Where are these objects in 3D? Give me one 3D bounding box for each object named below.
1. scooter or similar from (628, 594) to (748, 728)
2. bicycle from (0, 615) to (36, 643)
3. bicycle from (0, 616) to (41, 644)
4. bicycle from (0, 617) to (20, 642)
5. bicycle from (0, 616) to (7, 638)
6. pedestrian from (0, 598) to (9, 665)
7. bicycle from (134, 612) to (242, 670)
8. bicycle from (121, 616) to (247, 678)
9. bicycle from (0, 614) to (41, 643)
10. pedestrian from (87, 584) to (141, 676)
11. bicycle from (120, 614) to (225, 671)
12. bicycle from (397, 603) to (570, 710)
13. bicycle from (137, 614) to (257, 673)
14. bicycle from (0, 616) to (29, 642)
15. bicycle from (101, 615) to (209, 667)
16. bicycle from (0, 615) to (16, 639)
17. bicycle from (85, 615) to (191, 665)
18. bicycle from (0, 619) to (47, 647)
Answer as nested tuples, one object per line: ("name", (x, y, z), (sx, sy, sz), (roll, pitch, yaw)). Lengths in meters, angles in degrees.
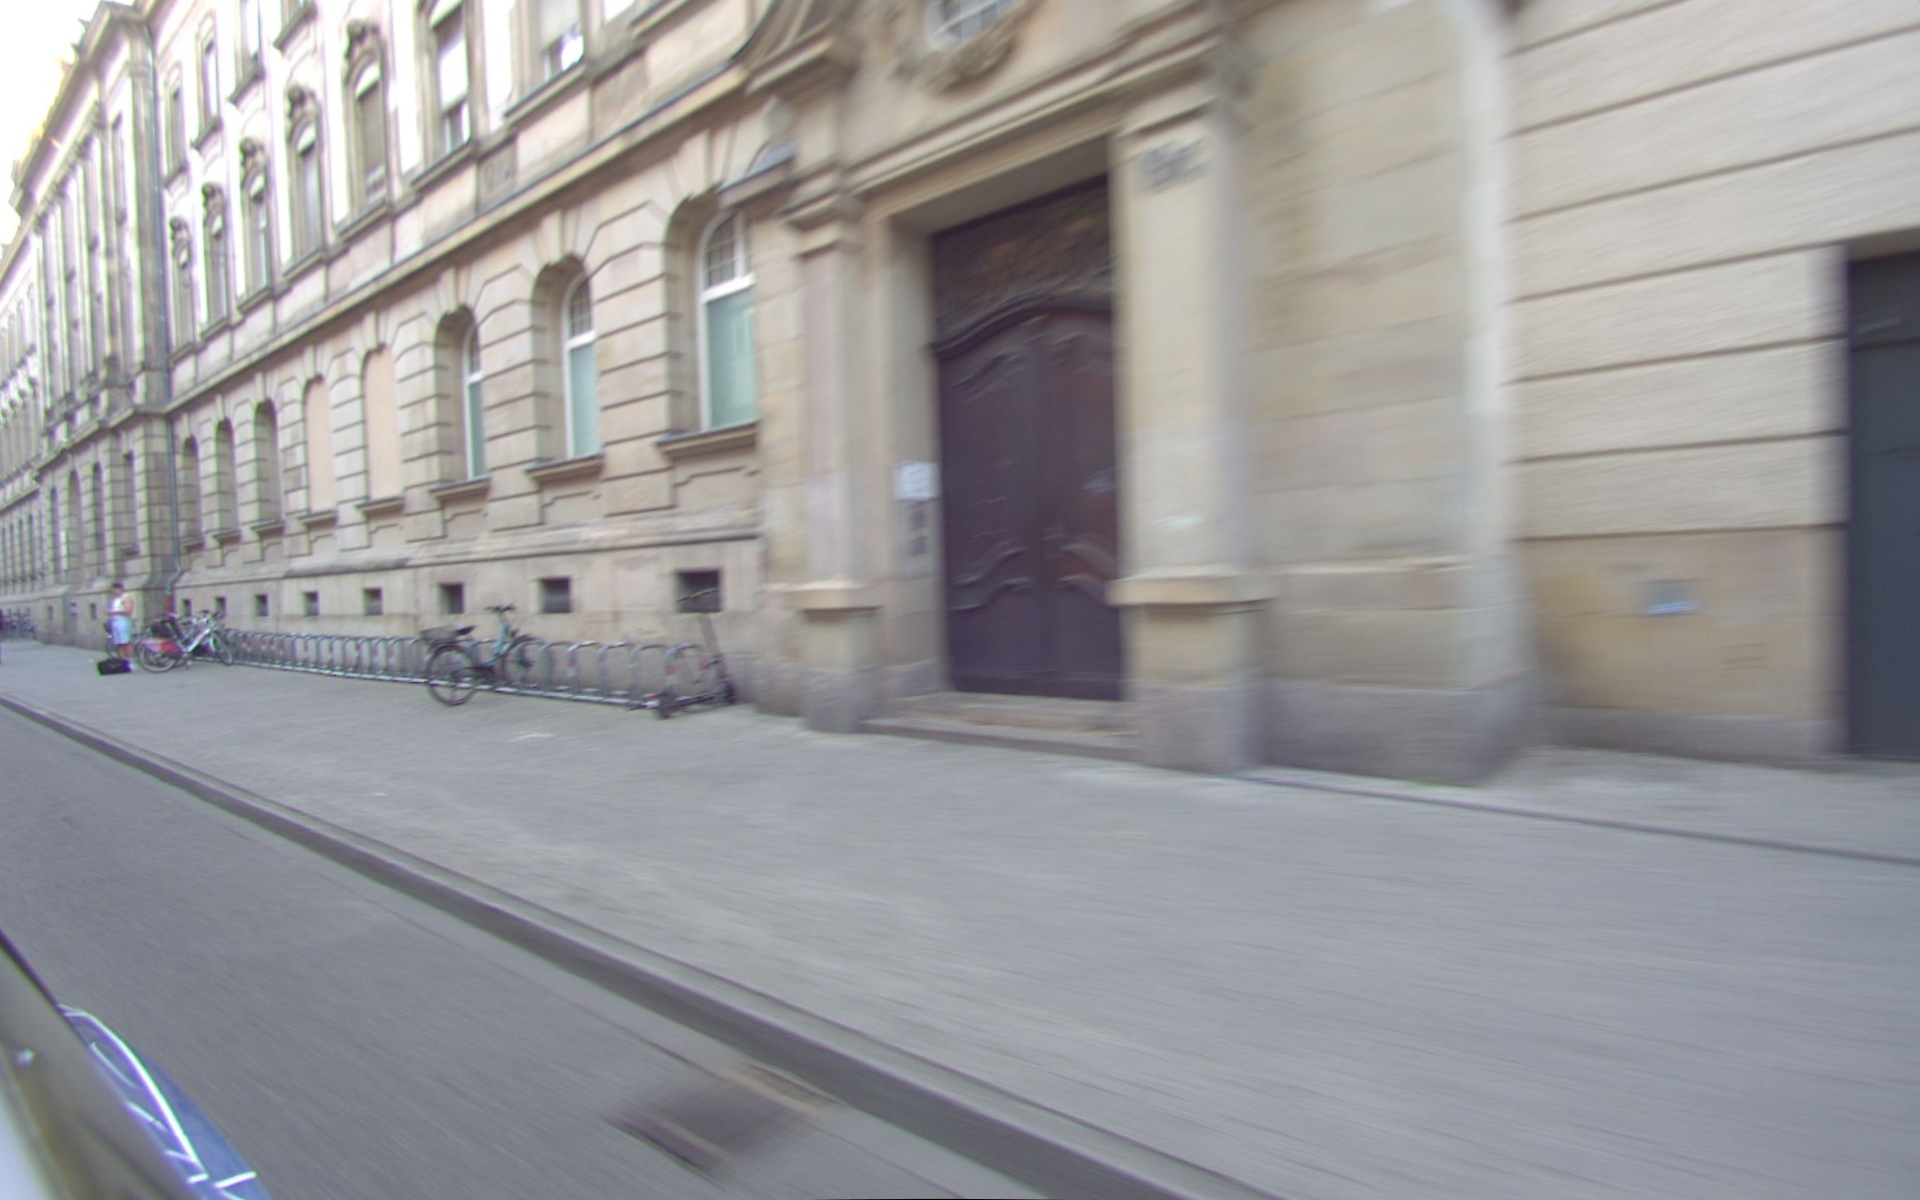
("scooter or similar", (-2.771, 0.595, 10.389), (0.495, 1.241, 1.126), (-2, 2, 29))
("bicycle", (-40.982, 1.279, 43.347), (0.728, 1.086, 1.921), (-1, 3, 34))
("bicycle", (-40.358, 1.282, 42.891), (0.728, 1.086, 1.921), (-1, 3, 34))
("bicycle", (-44.693, 1.394, 46.604), (0.728, 1.086, 1.921), (-1, 3, 34))
("bicycle", (-48.226, 1.382, 49.703), (0.728, 1.086, 1.921), (-1, 3, 34))
("pedestrian", (-25.858, 0.853, 26.794), (0.969, 1.763, 0.801), (0, 3, 41))
("bicycle", (-16.954, 0.879, 22.266), (0.499, 1.116, 1.779), (-1, 3, 35))
("bicycle", (-15.842, 0.928, 20.713), (0.619, 1.069, 1.918), (0, 3, 39))
("bicycle", (-39.494, 1.212, 41.955), (0.747, 1.086, 1.918), (-1, 3, 40))
("pedestrian", (-17.682, 0.613, 21.152), (0.753, 1.865, 0.583), (-2, 2, 36))
("bicycle", (-17.887, 0.944, 23.021), (0.499, 1.116, 1.779), (-1, 3, 35))
("bicycle", (-5.869, 0.657, 12.594), (0.616, 1.069, 1.927), (-1, 4, 26))
("bicycle", (-16.346, 0.906, 21.724), (0.618, 1.069, 1.921), (-1, 3, 35))
("bicycle", (-42.024, 1.304, 44.152), (0.728, 1.086, 1.921), (-1, 3, 34))
("bicycle", (-19.494, 0.974, 24.553), (0.618, 1.069, 1.921), (-1, 3, 35))
("bicycle", (-45.599, 1.340, 47.373), (0.728, 1.086, 1.921), (-1, 3, 34))
("bicycle", (-20.507, 0.981, 25.288), (0.619, 1.069, 1.918), (-1, 3, 40))
("bicycle", (-38.749, 1.358, 41.410), (0.720, 1.053, 1.918), (-1, 2, 36))
